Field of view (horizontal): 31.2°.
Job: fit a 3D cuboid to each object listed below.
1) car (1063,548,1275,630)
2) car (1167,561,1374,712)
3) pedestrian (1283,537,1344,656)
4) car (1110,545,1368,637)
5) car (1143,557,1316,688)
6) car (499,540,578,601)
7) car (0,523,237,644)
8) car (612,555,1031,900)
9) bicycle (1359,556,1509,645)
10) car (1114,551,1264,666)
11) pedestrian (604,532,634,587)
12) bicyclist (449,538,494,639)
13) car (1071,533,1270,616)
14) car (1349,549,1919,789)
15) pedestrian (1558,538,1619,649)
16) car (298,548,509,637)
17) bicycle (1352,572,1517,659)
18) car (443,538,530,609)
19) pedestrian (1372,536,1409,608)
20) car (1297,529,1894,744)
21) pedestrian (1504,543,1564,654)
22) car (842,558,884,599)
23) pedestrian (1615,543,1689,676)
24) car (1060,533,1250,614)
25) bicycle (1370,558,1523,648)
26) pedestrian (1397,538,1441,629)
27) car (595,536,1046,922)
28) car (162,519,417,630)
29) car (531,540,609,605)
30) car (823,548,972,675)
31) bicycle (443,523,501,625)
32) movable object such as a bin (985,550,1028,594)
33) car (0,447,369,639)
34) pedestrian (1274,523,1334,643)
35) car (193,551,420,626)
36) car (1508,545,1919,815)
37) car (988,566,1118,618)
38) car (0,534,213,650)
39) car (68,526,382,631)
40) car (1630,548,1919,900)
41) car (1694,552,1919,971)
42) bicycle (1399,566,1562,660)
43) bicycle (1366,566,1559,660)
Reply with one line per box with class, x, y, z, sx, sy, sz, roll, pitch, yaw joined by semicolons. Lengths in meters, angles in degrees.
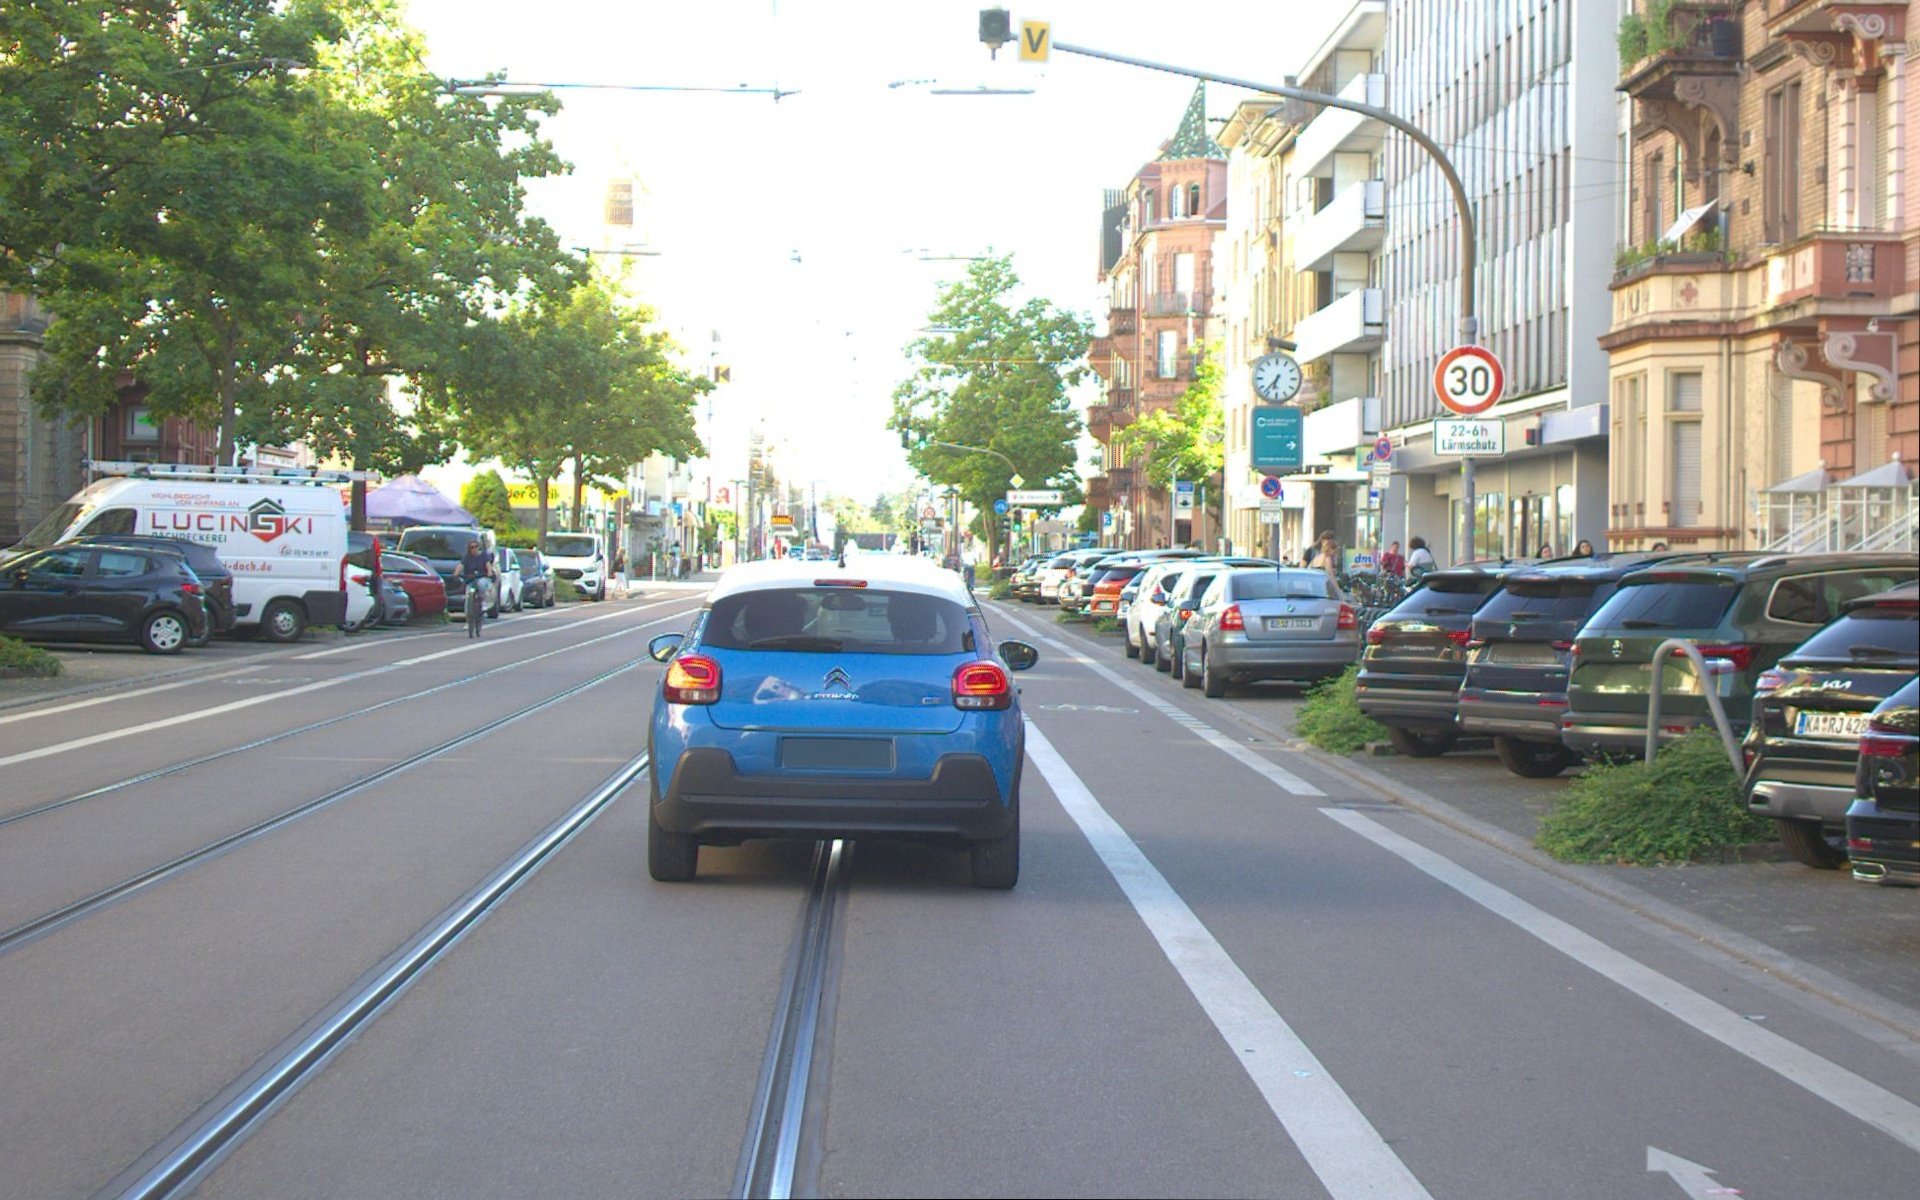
car;4.157;-0.221;68.165;3.718;1.515;1.968;1;1;-34
car;3.530;0.374;39.888;1.873;1.590;4.719;2;0;-1
pedestrian;4.865;-0.051;47.382;0.711;1.601;0.654;2;0;-2
car;4.959;-0.156;60.865;4.439;1.503;1.536;1;0;-30
car;3.493;0.262;45.225;1.873;1.590;4.000;2;0;-1
car;-10.770;-0.759;88.013;1.747;1.482;4.043;2;0;-4
car;-12.501;-0.247;48.912;3.986;1.612;1.713;1;0;-26
car;-0.637;0.533;16.571;1.762;1.436;3.557;2;0;-1
bicycle;6.820;0.004;49.486;2.019;1.217;0.664;2;0;-1
car;3.365;0.101;51.078;1.873;1.590;4.000;2;0;-1
pedestrian;-10.728;-1.282;108.268;0.729;1.720;0.628;1;0;-25
bicyclist;-8.268;-0.197;58.194;0.634;1.676;0.727;2;0;-1
car;4.497;-0.537;73.413;3.718;1.646;2.048;1;1;-34
car;5.078;0.494;24.762;3.986;1.590;2.088;1;0;-25
pedestrian;9.194;-0.094;50.299;0.711;1.601;0.654;2;0;-2
car;-10.837;-0.145;66.932;3.722;1.617;1.789;1;0;-22
bicycle;7.089;0.228;51.469;2.358;1.217;0.664;2;0;3
car;-11.350;-0.651;82.624;1.747;1.612;4.411;2;0;-4
pedestrian;9.623;-0.617;76.813;0.692;1.582;0.678;2;0;-1
car;5.082;0.292;27.473;4.302;1.590;1.983;1;0;-25
pedestrian;8.377;-0.027;50.204;0.712;1.601;0.654;-2;0;-2
car;-3.466;-0.770;122.881;1.423;1.427;3.139;2;0;-1
pedestrian;8.481;0.114;42.132;0.711;1.601;0.654;2;0;-2
car;4.007;-0.535;70.594;3.441;1.550;1.824;1;1;-32
bicycle;6.865;0.039;48.568;2.019;1.217;0.664;2;0;-1
pedestrian;8.921;-0.321;66.821;0.692;1.750;0.678;2;0;-1
car;-0.614;0.530;16.617;1.873;1.590;4.000;2;0;-1
car;-11.646;-0.438;59.737;3.986;1.810;1.713;1;0;-26
car;-11.504;-0.807;101.558;1.831;1.841;4.214;2;0;-1
car;-0.829;0.128;46.354;1.873;1.590;4.000;2;0;-1
bicycle;-8.266;-0.444;58.314;0.680;1.673;2.097;2;0;-1
movable object such as a bin;1.585;-0.961;118.105;1.394;1.478;1.655;2;0;-1
car;-11.917;-0.838;52.370;5.370;2.739;1.806;1;0;-30
pedestrian;4.862;-0.243;48.620;0.711;1.666;0.654;2;0;-2
car;-12.011;-0.204;63.217;3.796;1.261;1.516;1;0;-26
car;5.774;0.506;22.118;3.986;1.590;1.960;1;0;-25
car;2.935;-0.252;108.473;3.653;1.529;1.789;1;0;-20
car;-12.293;-0.130;46.773;3.985;1.484;1.807;1;0;-17
car;-12.177;-0.345;57.068;4.755;1.612;1.712;1;1;-33
car;5.776;0.598;17.625;4.318;1.590;2.045;1;1;-32
car;5.542;0.664;14.388;4.433;1.590;2.089;1;0;-25
bicycle;6.970;0.168;46.059;2.056;1.217;0.664;1;0;-2
bicycle;6.948;0.176;47.616;2.538;1.217;0.664;2;0;-1
